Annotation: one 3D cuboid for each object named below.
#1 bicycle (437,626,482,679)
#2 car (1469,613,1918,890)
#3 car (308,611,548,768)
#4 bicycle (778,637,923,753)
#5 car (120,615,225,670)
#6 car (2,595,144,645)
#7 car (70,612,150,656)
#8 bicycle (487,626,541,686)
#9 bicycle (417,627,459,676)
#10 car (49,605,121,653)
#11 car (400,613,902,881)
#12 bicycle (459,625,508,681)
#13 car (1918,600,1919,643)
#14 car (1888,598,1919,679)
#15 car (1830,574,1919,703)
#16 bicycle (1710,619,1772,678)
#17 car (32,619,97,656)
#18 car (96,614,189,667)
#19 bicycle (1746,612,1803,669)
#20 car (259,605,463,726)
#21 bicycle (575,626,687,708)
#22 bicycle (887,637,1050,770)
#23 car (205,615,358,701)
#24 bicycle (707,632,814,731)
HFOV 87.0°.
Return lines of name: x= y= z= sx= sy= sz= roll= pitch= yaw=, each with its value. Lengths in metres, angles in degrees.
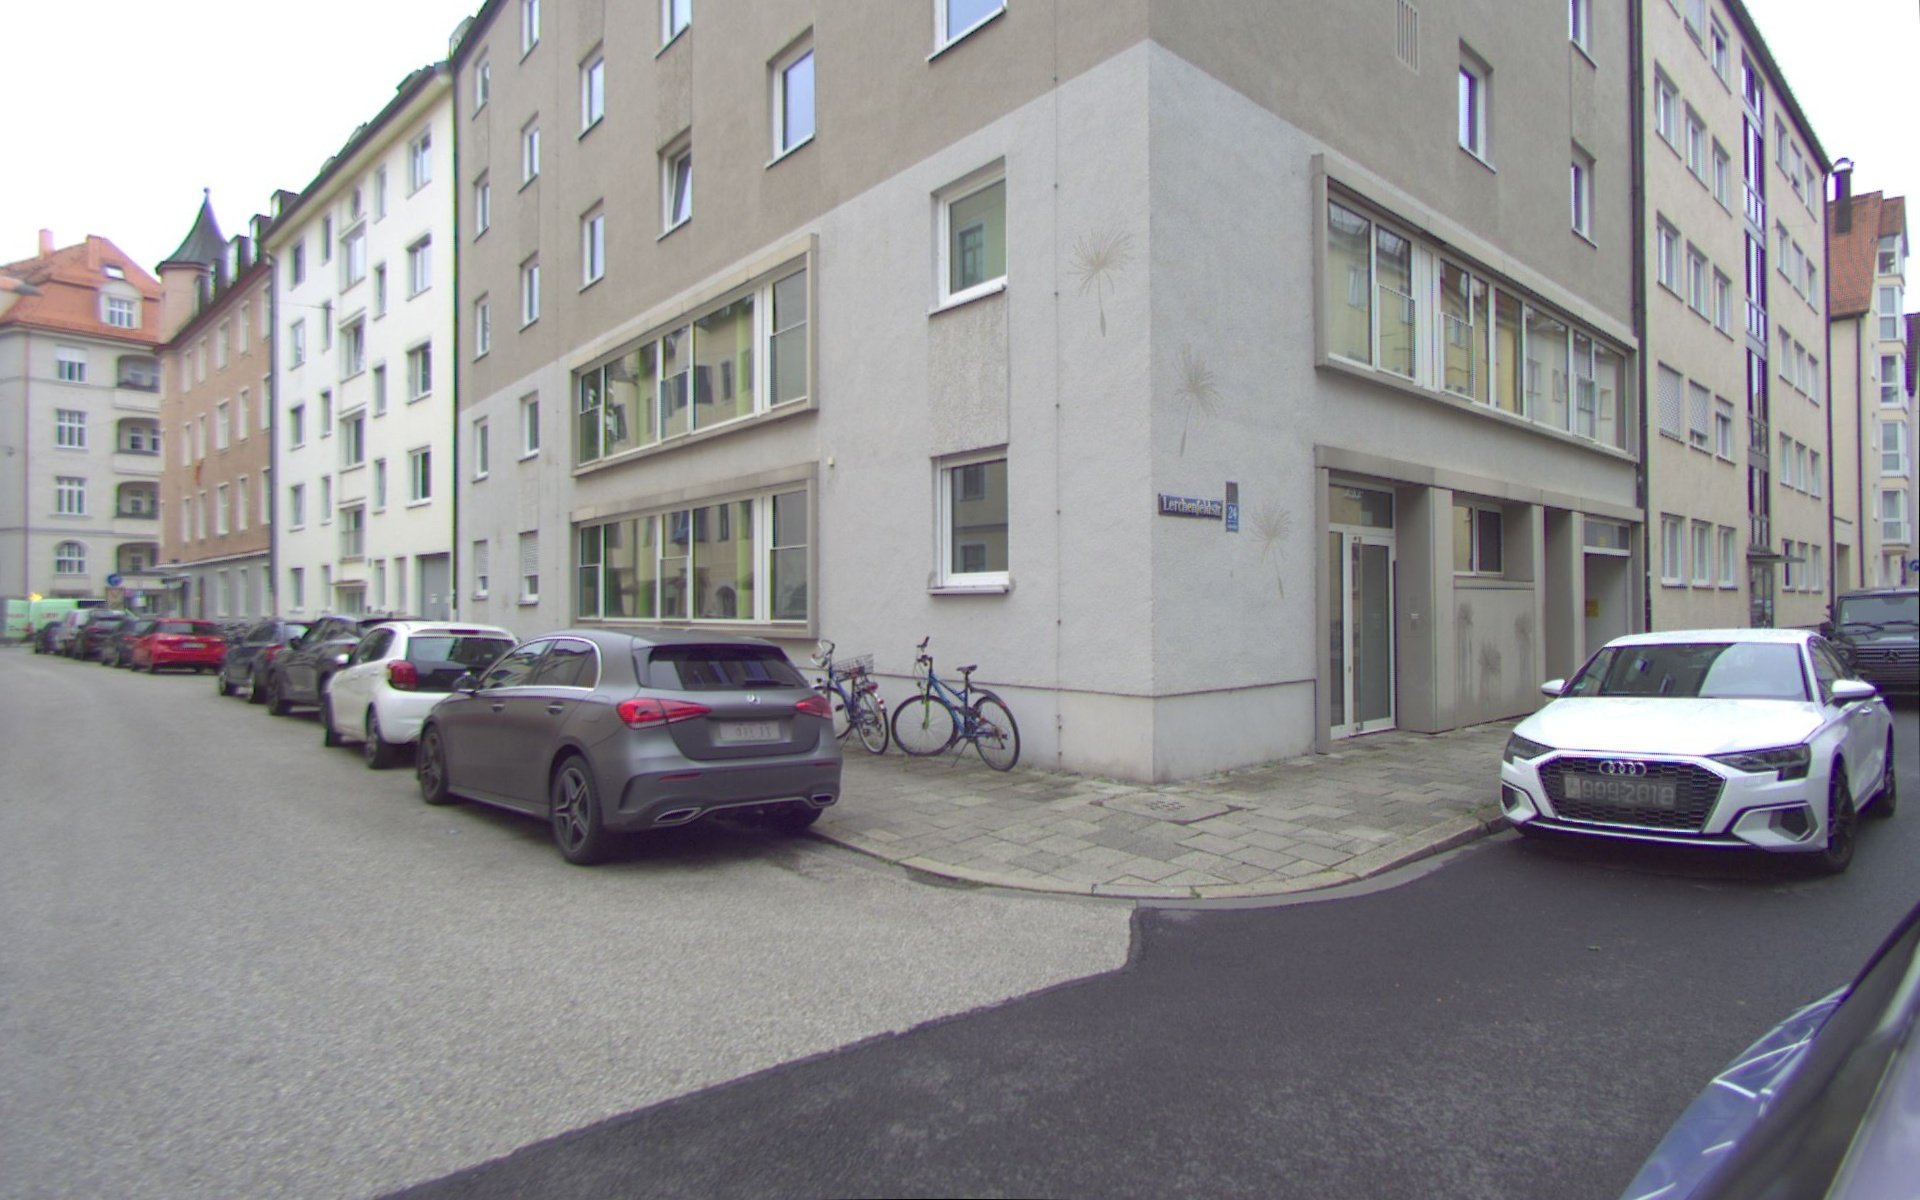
bicycle: x=-11.264 y=1.152 z=22.766 sx=0.457 sy=1.130 sz=1.799 roll=0 pitch=-1 yaw=-41
car: x=5.451 y=0.838 z=7.343 sx=3.884 sy=1.426 sz=1.821 roll=0 pitch=-2 yaw=-42
car: x=-6.046 y=0.919 z=11.336 sx=1.539 sy=1.455 sz=3.349 roll=6 pitch=-4 yaw=-41
bicycle: x=-1.230 y=0.985 z=11.042 sx=0.639 sy=1.130 sz=1.799 roll=0 pitch=-1 yaw=-41
car: x=-21.789 y=1.155 z=27.951 sx=3.661 sy=1.436 sz=1.709 roll=-2 pitch=-3 yaw=43
car: x=-49.993 y=1.092 z=57.148 sx=1.993 sy=2.577 sz=5.899 roll=-3 pitch=-1 yaw=43
car: x=-30.691 y=1.225 z=36.517 sx=3.870 sy=1.535 sz=1.709 roll=-2 pitch=-3 yaw=43
bicycle: x=-8.829 y=1.077 z=20.000 sx=0.457 sy=1.130 sz=1.799 roll=0 pitch=-1 yaw=-41
bicycle: x=-12.462 y=1.207 z=24.132 sx=0.457 sy=1.130 sz=1.799 roll=0 pitch=-1 yaw=-41
car: x=-34.770 y=1.150 z=40.186 sx=4.094 sy=1.816 sz=1.709 roll=-2 pitch=-3 yaw=43
car: x=-2.557 y=0.845 z=7.704 sx=1.966 sy=1.418 sz=4.207 roll=2 pitch=-2 yaw=-44
bicycle: x=-10.068 y=1.102 z=21.371 sx=0.457 sy=1.130 sz=1.799 roll=0 pitch=-1 yaw=-41
car: x=24.148 y=0.699 z=24.085 sx=4.174 sy=1.505 sz=1.712 roll=-1 pitch=-1 yaw=-44
car: x=20.294 y=0.724 z=20.623 sx=4.174 sy=1.505 sz=1.712 roll=-1 pitch=-1 yaw=-44
car: x=16.361 y=0.613 z=17.296 sx=4.270 sy=2.001 sz=1.752 roll=0 pitch=-3 yaw=-44
bicycle: x=15.555 y=0.947 z=20.142 sx=1.766 sy=1.041 sz=0.645 roll=-1 pitch=4 yaw=-42
car: x=-39.076 y=1.619 z=44.144 sx=3.870 sy=1.535 sz=1.709 roll=-2 pitch=-3 yaw=43
car: x=-25.620 y=1.251 z=31.675 sx=3.870 sy=1.535 sz=1.709 roll=-2 pitch=-3 yaw=43
bicycle: x=17.710 y=0.851 z=22.000 sx=1.730 sy=1.119 sz=0.655 roll=-1 pitch=3 yaw=-42
car: x=-8.944 y=0.921 z=15.007 sx=3.662 sy=1.547 sz=1.541 roll=0 pitch=-5 yaw=43
bicycle: x=-5.011 y=0.969 z=15.324 sx=0.865 sy=1.130 sz=2.050 roll=0 pitch=-1 yaw=-41
bicycle: x=0.041 y=0.929 z=9.640 sx=0.457 sy=1.130 sz=1.799 roll=0 pitch=-1 yaw=-41
car: x=-12.661 y=1.016 z=18.805 sx=3.662 sy=1.436 sz=1.542 roll=-1 pitch=-3 yaw=43
bicycle: x=-2.508 y=0.968 z=12.596 sx=0.457 sy=1.130 sz=1.799 roll=0 pitch=-1 yaw=-41
